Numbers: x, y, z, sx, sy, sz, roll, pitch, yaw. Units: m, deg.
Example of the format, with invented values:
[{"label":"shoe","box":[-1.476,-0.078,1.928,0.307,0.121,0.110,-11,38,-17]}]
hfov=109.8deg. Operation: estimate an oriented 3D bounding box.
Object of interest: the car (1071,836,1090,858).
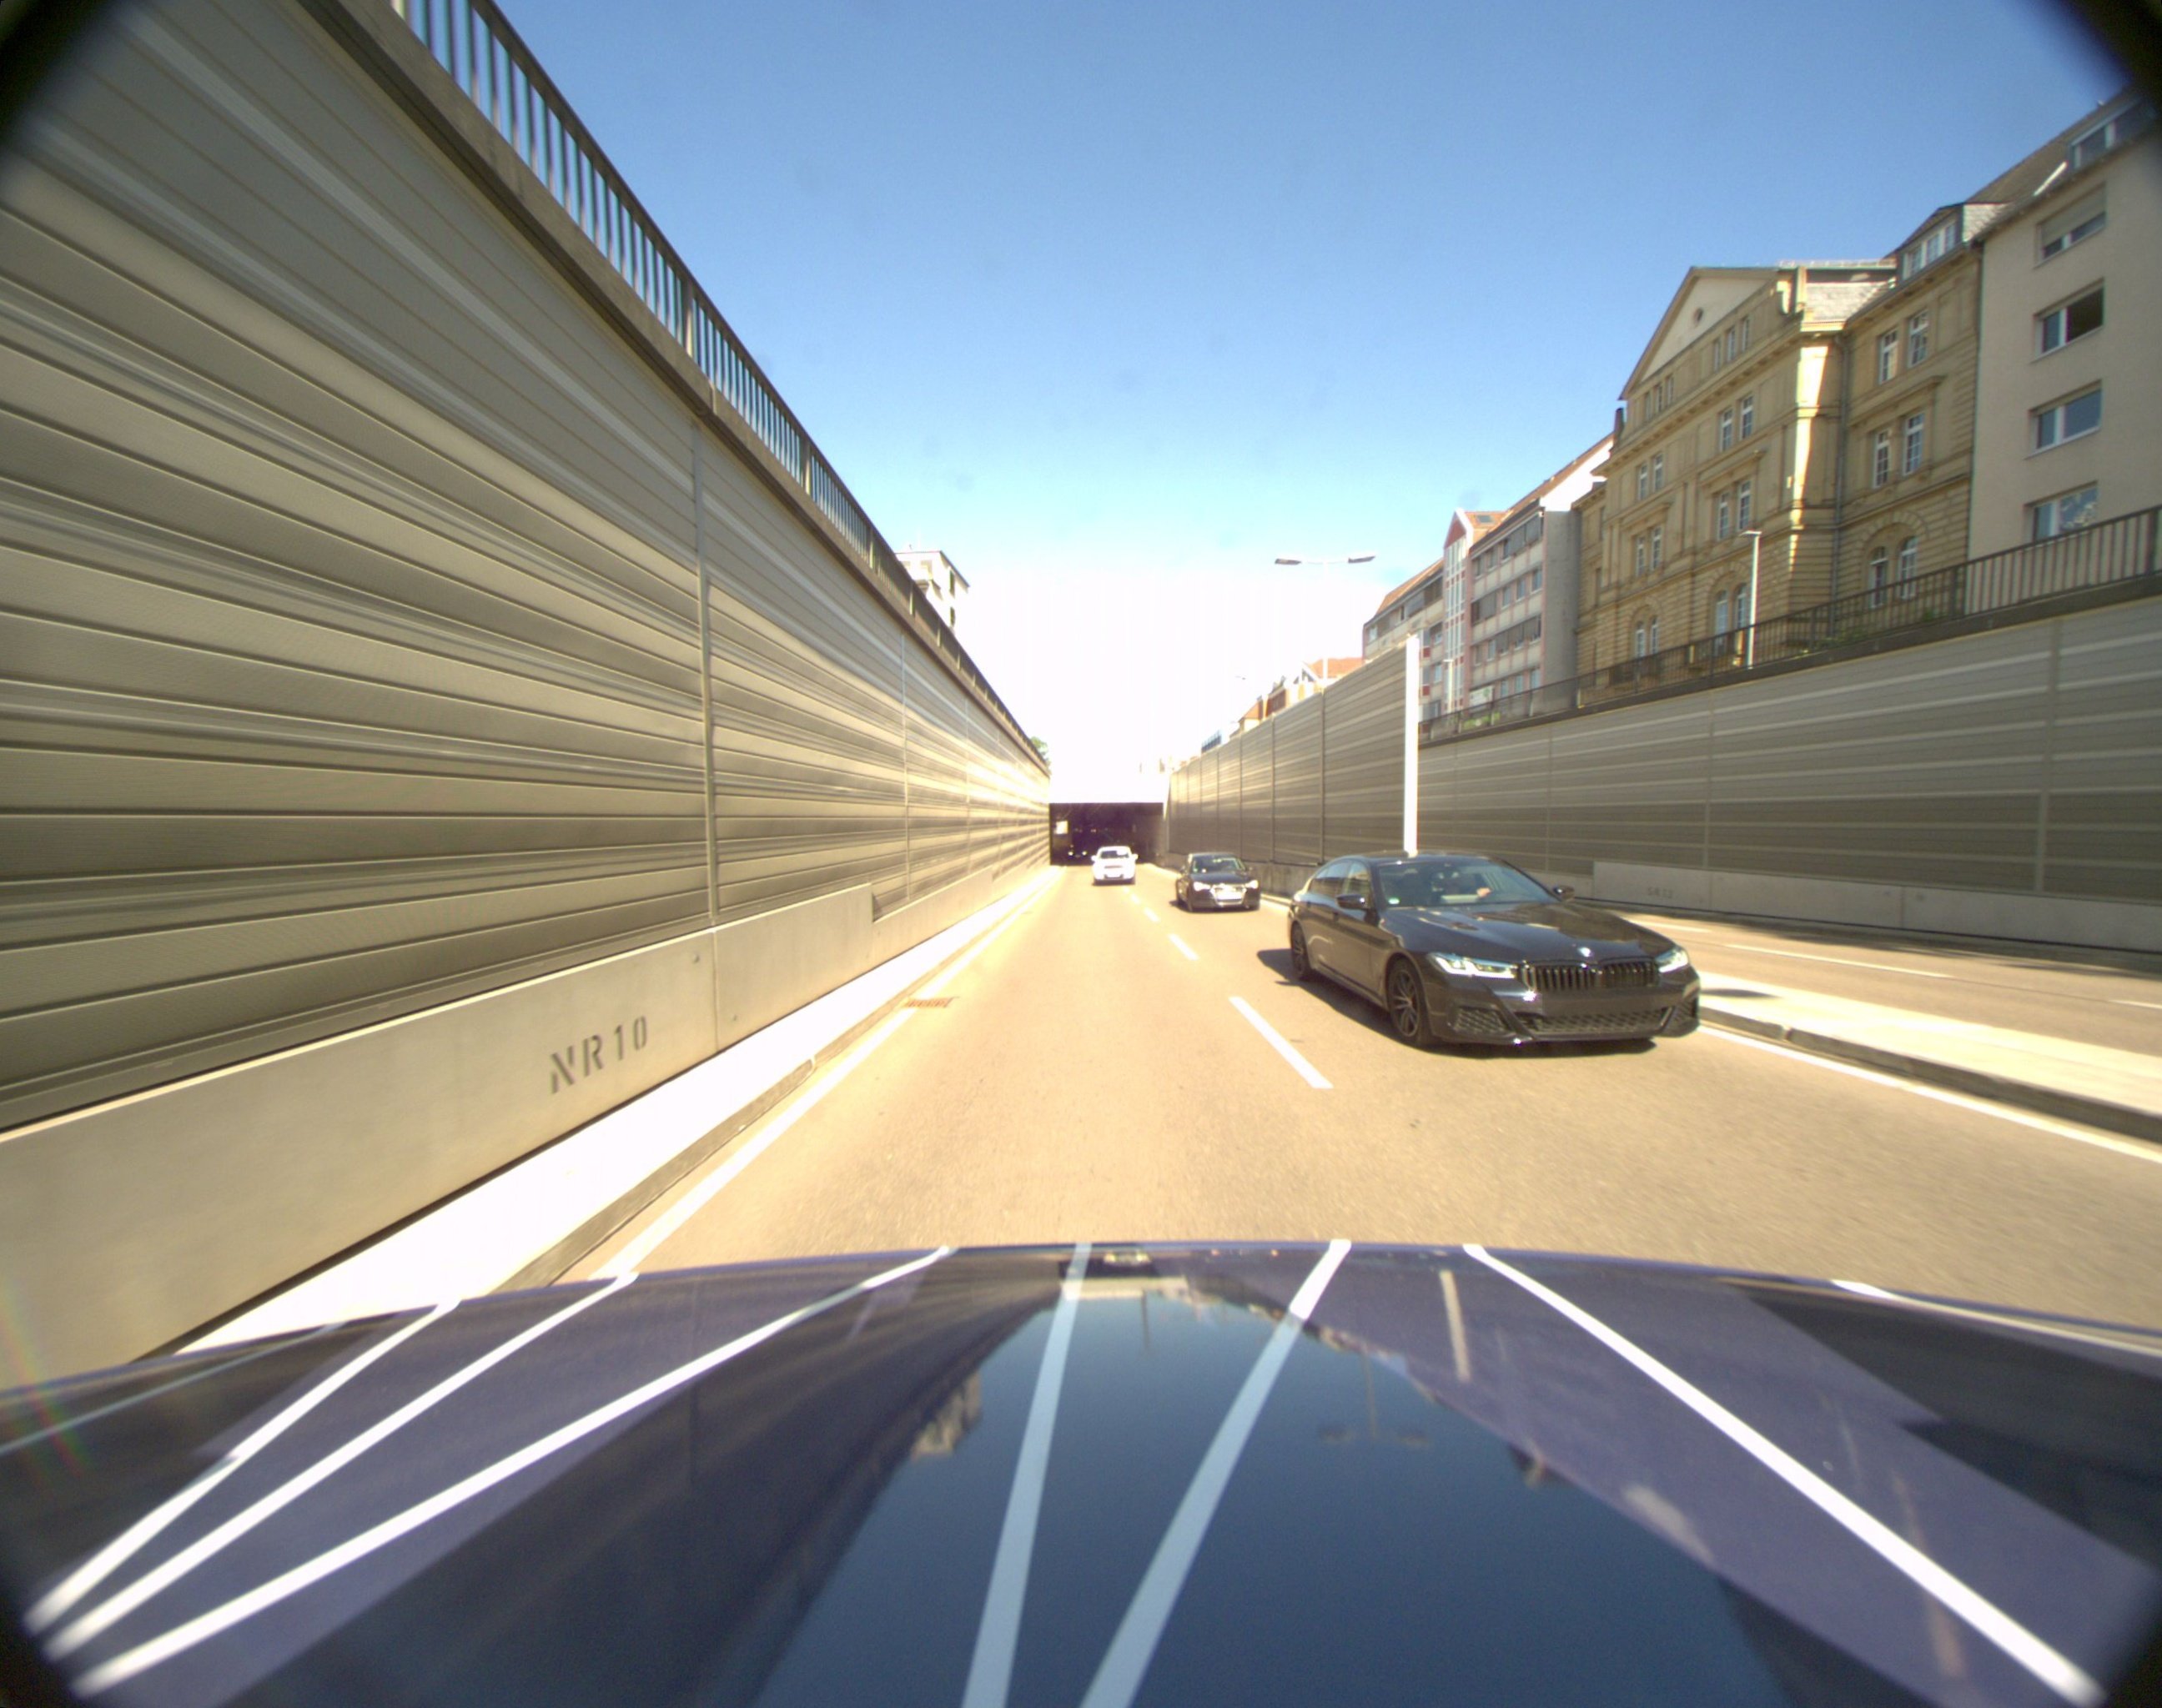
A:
[{"label":"car","box":[-0.078,-0.745,76.782,1.785,2.003,3.907,-2,2,0]}]

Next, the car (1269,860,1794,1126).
[{"label":"car","box":[3.251,0.832,6.936,1.813,1.431,5.002,-2,0,0]}]

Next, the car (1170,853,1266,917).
[{"label":"car","box":[3.377,0.702,19.366,1.700,1.410,3.888,-2,0,0]}]

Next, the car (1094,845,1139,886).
[{"label":"car","box":[1.512,0.461,34.025,1.855,1.658,3.969,-1,1,1]}]

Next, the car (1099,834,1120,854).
[{"label":"car","box":[3.065,-1.142,82.353,1.999,2.003,3.998,-2,2,-1]}]
